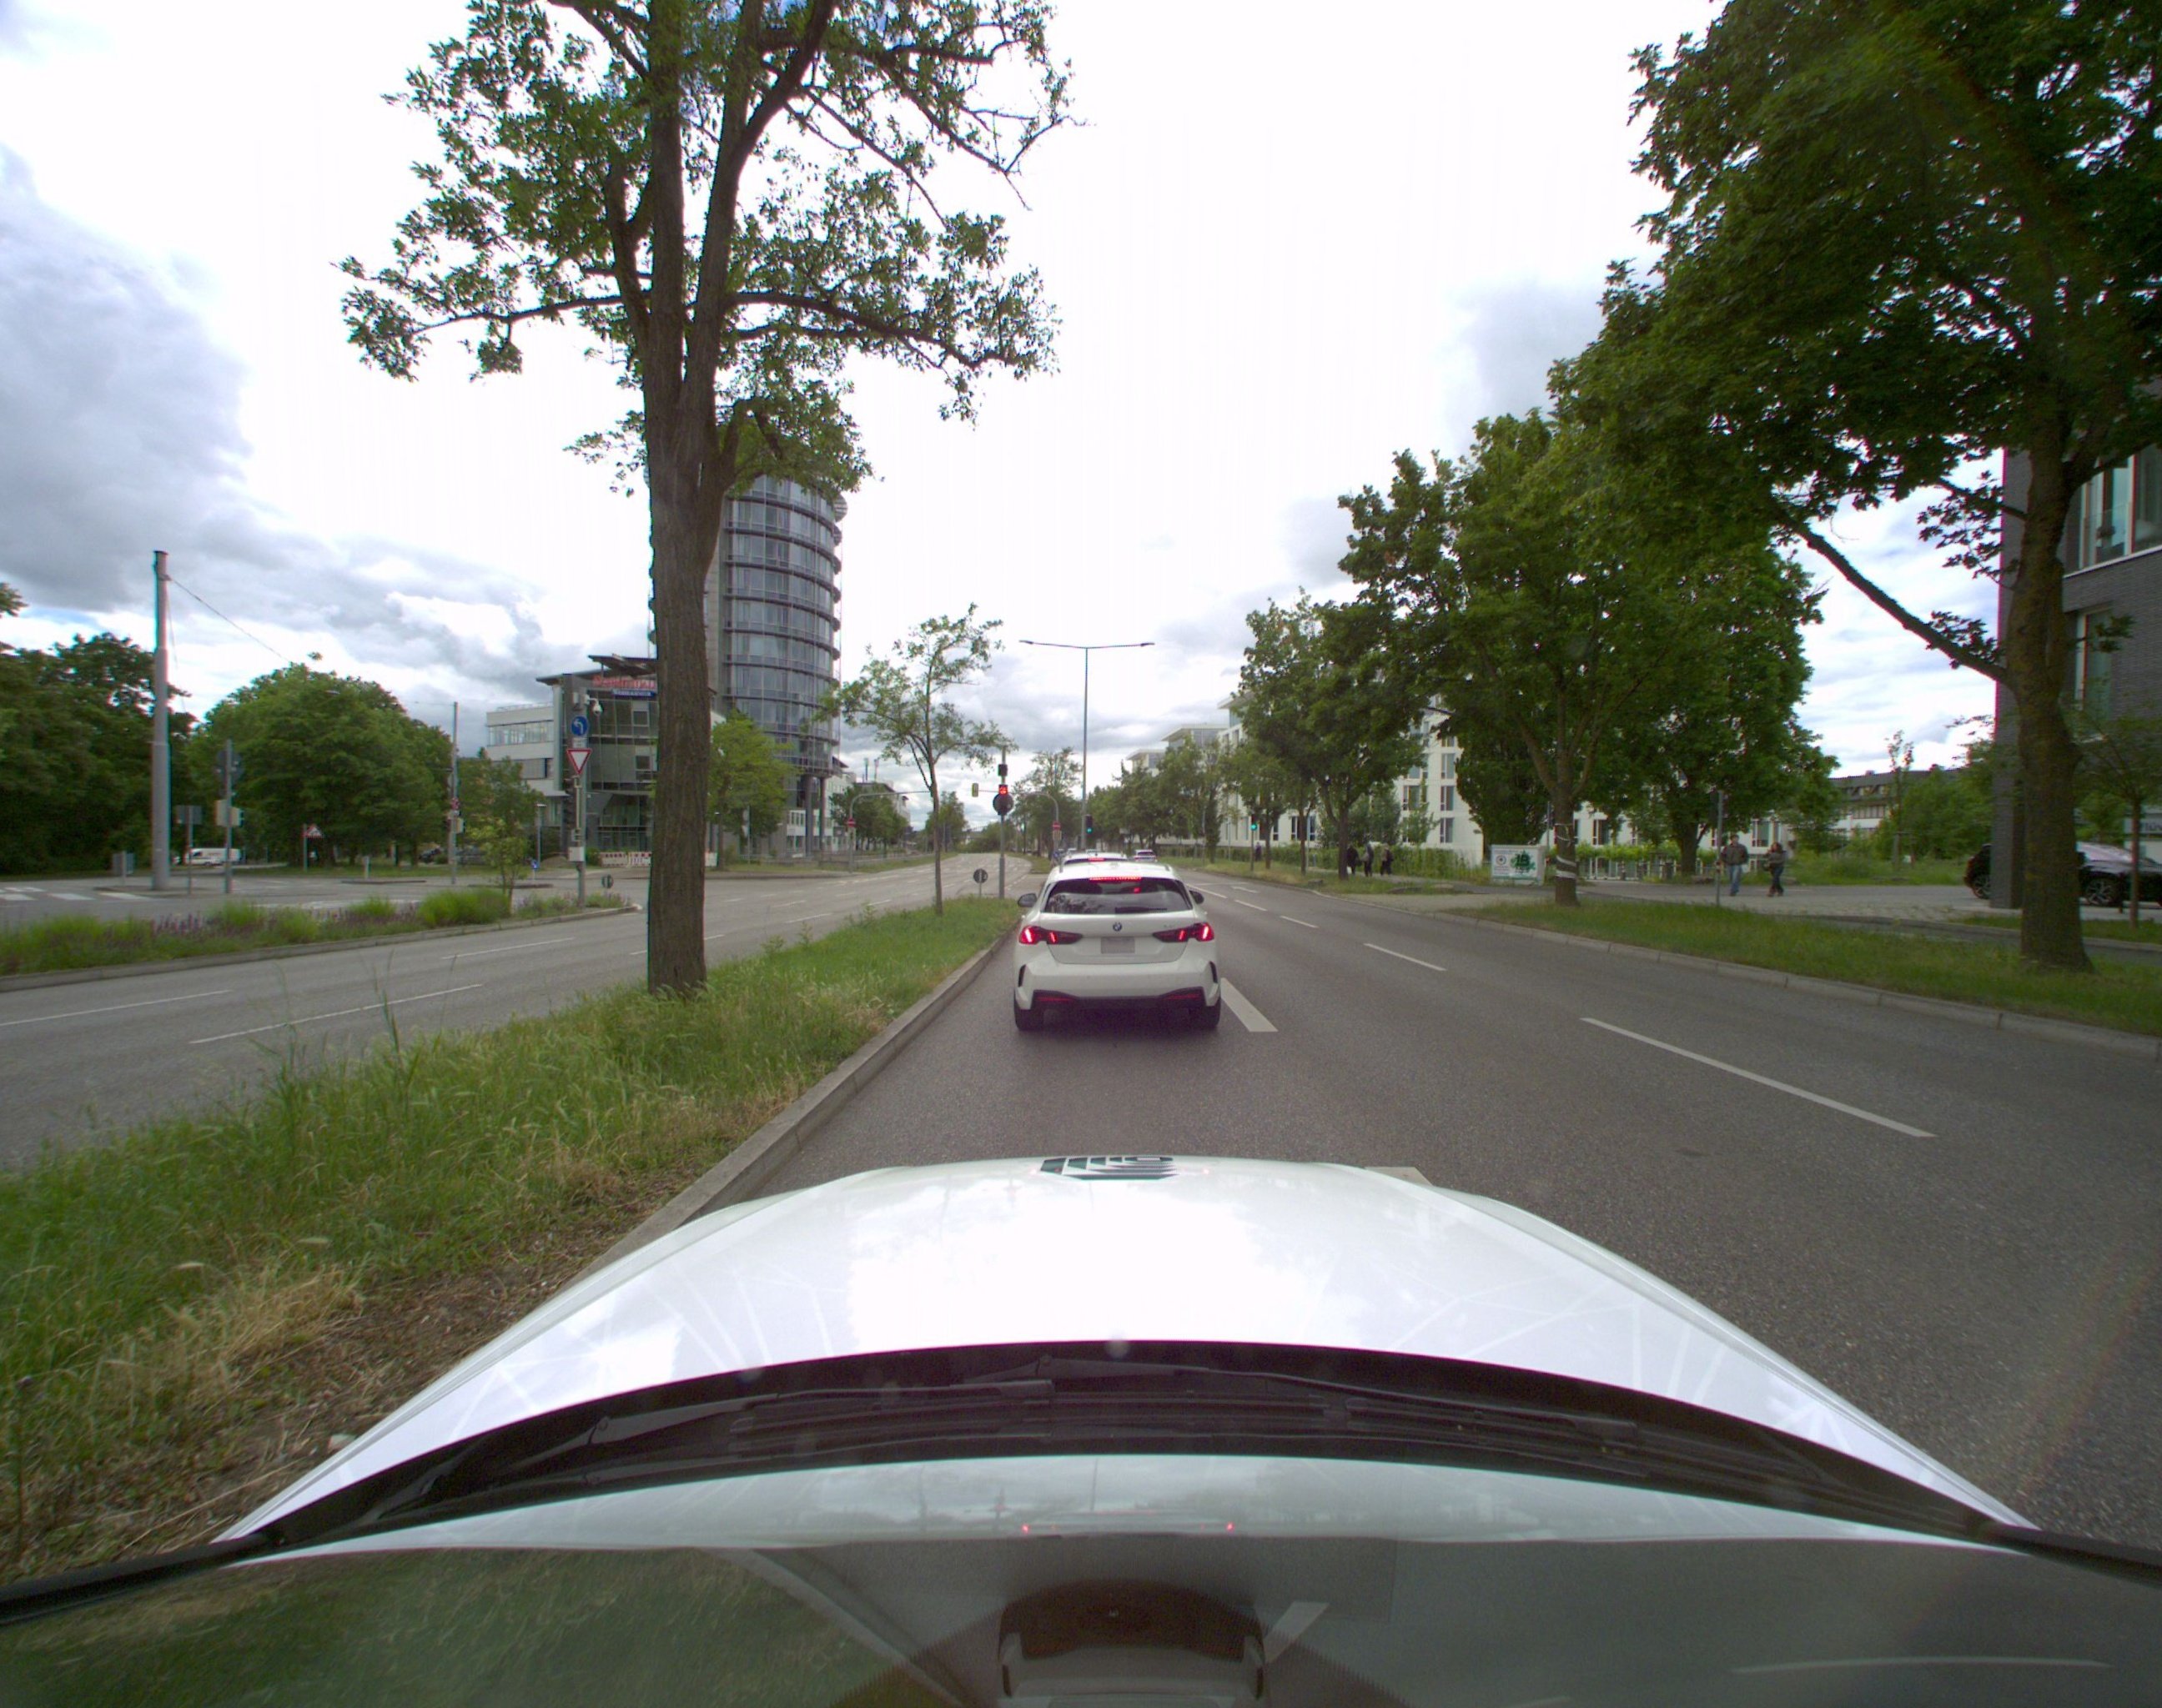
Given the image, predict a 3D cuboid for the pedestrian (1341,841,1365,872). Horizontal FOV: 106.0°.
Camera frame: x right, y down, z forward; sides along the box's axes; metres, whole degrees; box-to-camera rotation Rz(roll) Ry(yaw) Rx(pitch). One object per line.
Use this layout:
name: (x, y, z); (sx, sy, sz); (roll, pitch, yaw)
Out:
pedestrian: (12.968, 0.115, 38.892); (0.786, 1.448, 1.112); (0, -1, 1)

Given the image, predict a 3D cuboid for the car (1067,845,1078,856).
car: (-1.322, -0.474, 126.894); (1.597, 1.666, 3.997); (0, 0, -2)

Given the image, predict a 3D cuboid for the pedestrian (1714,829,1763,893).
pedestrian: (19.805, 0.212, 24.533); (0.983, 1.868, 0.952); (0, 0, -38)

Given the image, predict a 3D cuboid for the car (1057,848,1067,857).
car: (-3.494, -0.314, 147.404); (1.734, 1.666, 3.997); (0, 0, -2)

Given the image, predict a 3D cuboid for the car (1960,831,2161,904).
car: (24.896, 0.297, 20.230); (1.749, 1.646, 4.151); (0, 0, 2)

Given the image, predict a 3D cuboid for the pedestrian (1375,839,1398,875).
pedestrian: (14.603, 0.151, 38.901); (0.764, 1.685, 0.883); (0, -1, 1)

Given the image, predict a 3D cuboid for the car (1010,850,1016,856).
car: (-20.185, -0.287, 242.756); (1.834, 2.014, 3.994); (0, -1, -4)

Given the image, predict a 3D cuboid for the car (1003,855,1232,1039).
car: (0.354, 0.741, 8.454); (1.815, 1.438, 4.002); (0, 0, 2)

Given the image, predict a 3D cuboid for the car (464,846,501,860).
car: (-37.361, -0.062, 50.882); (0.766, 0.876, 1.730); (0, 0, 38)

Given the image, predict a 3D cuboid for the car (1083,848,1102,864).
car: (1.252, 0.165, 89.892); (1.692, 1.717, 3.994); (0, 0, -4)

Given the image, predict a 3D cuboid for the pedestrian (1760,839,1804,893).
pedestrian: (20.653, 0.355, 23.987); (0.880, 1.557, 0.825); (0, 0, -38)

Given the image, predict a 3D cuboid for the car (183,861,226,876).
car: (-124.388, 2.019, 115.633); (3.983, 2.013, 1.719); (0, 0, -7)

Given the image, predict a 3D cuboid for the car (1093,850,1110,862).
car: (2.506, 0.235, 101.209); (1.689, 1.486, 3.688); (0, 0, -4)

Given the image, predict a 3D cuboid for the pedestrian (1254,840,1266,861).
pedestrian: (13.507, -0.254, 61.569); (0.739, 1.574, 0.674); (0, -1, 0)

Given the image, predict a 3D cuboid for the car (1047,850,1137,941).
car: (0.247, 0.713, 15.982); (1.544, 1.569, 4.002); (0, 0, 2)

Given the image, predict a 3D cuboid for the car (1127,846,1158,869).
car: (4.671, 0.242, 62.122); (1.987, 1.670, 3.999); (-2, 0, 0)

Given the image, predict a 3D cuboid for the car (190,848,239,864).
car: (-128.875, 0.253, 121.186); (1.978, 2.339, 4.570); (-1, -1, 16)

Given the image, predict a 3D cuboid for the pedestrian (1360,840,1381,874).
pedestrian: (13.755, 0.156, 38.747); (0.697, 1.595, 0.883); (0, -1, 1)

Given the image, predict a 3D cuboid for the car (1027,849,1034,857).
car: (-14.607, -0.286, 236.209); (1.834, 2.014, 3.994); (0, -1, -4)

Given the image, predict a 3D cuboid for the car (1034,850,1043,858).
car: (-8.503, 0.037, 162.215); (1.597, 1.666, 3.997); (0, 0, -2)
